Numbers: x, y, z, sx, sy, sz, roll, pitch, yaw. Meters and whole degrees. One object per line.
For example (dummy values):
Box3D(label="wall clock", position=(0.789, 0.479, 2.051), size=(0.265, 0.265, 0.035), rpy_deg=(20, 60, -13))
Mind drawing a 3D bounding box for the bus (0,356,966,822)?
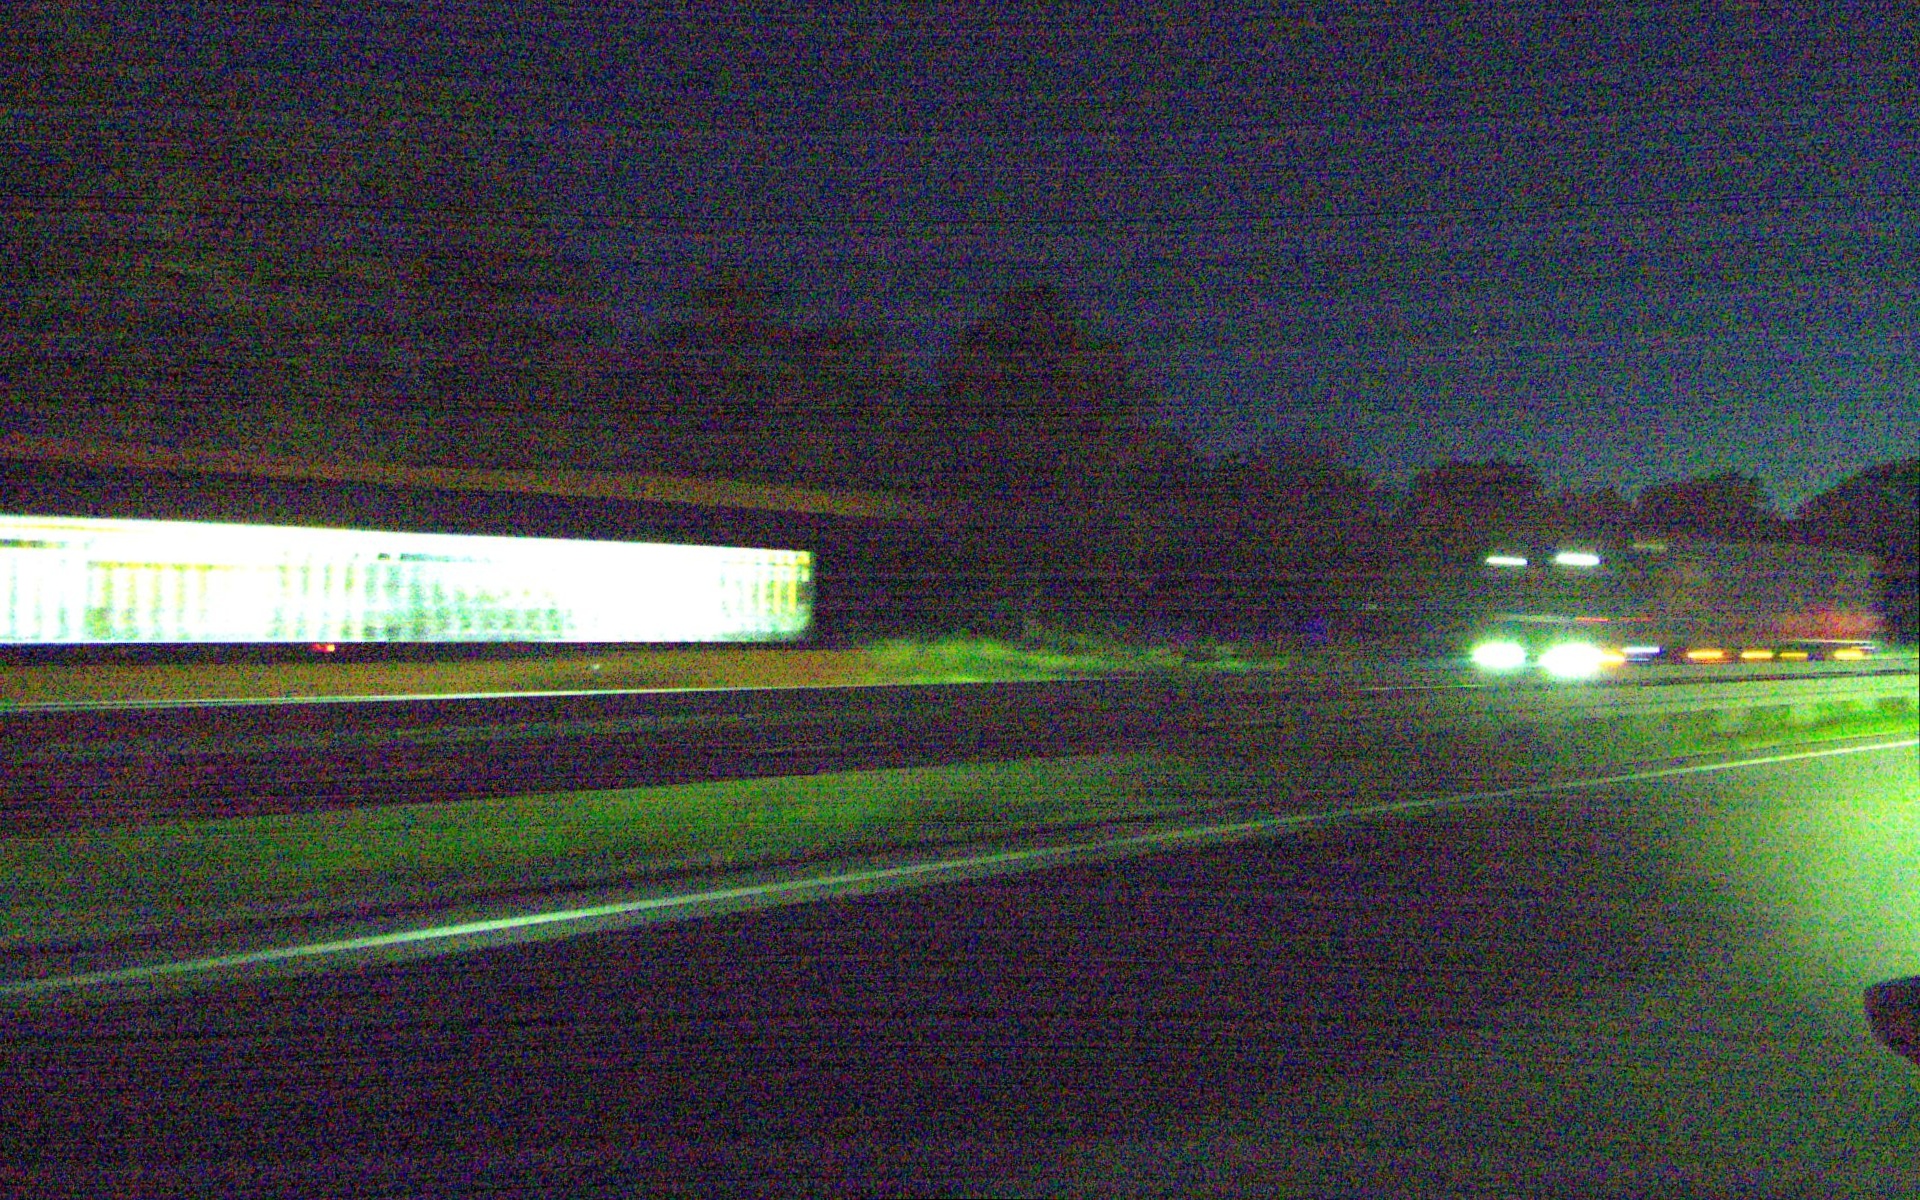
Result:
Box3D(label="bus", position=(-5.915, -0.039, 9.743), size=(12.160, 3.432, 2.910), rpy_deg=(1, -1, -30))

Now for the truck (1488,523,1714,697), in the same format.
Box3D(label="truck", position=(17.276, 0.319, 27.040), size=(5.795, 4.232, 2.665), rpy_deg=(1, -1, -28))

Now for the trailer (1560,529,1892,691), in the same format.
Box3D(label="trailer", position=(23.541, 0.393, 30.431), size=(13.574, 4.205, 2.665), rpy_deg=(1, -1, -28))
